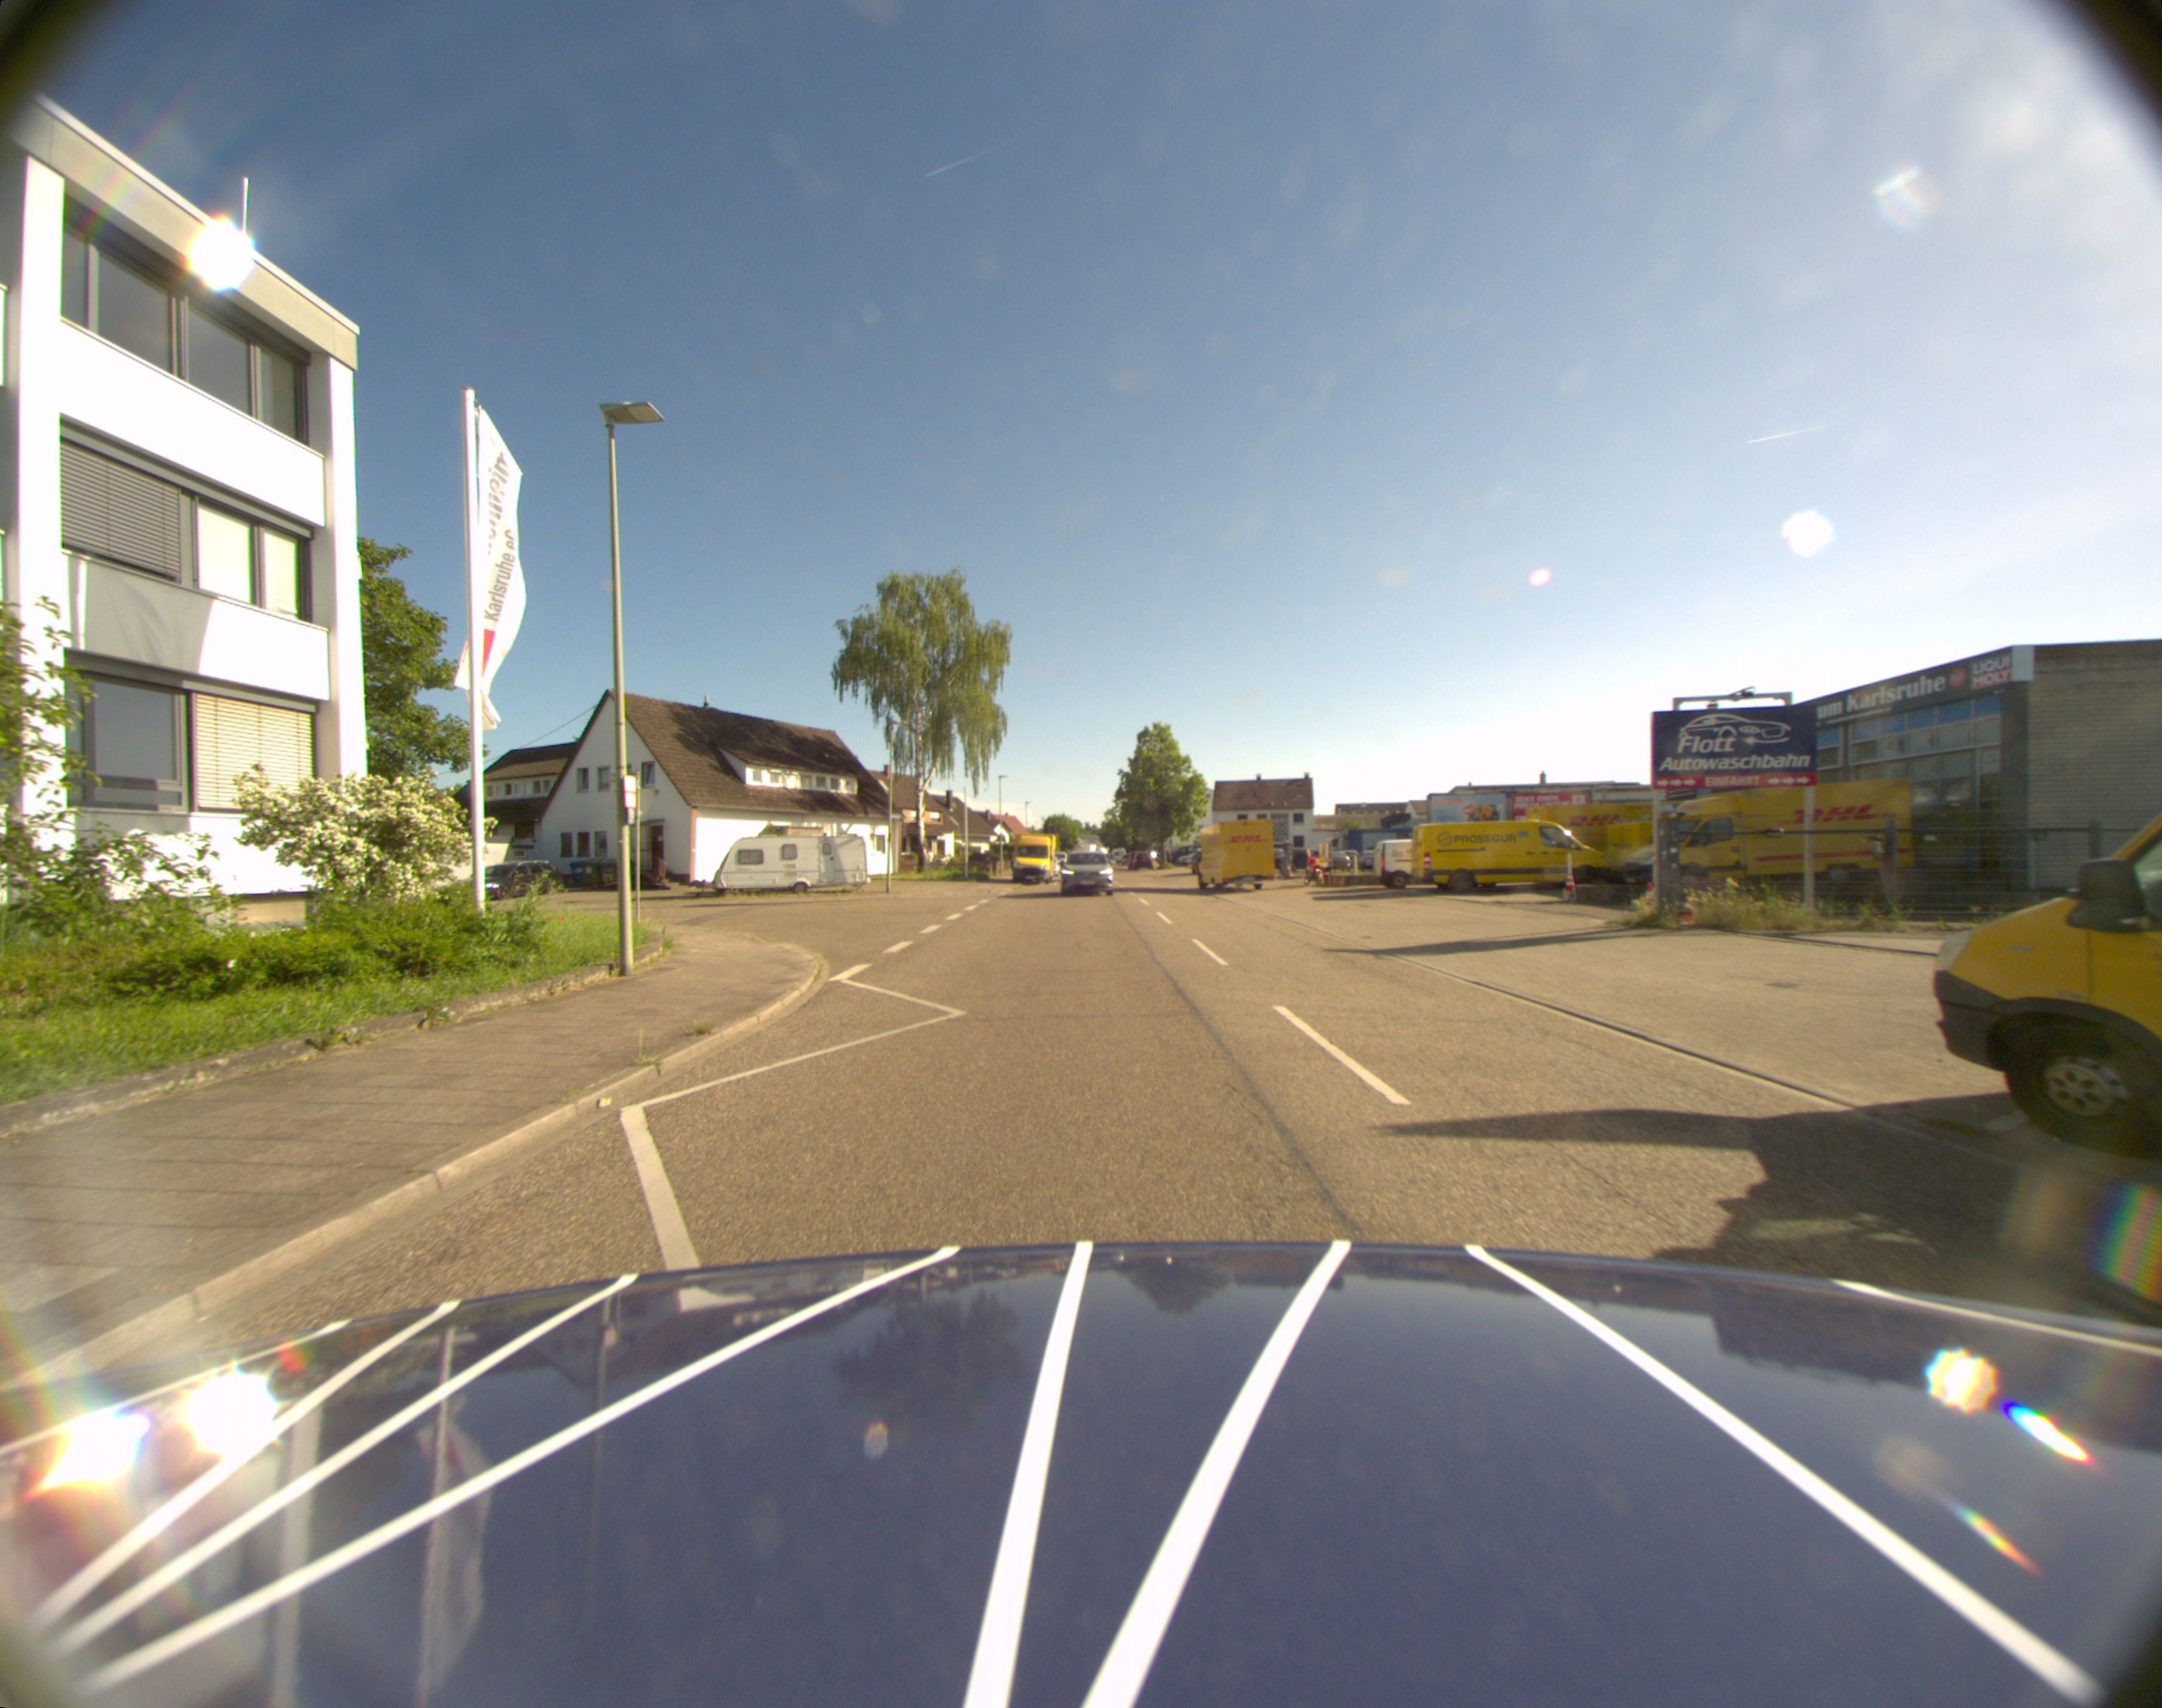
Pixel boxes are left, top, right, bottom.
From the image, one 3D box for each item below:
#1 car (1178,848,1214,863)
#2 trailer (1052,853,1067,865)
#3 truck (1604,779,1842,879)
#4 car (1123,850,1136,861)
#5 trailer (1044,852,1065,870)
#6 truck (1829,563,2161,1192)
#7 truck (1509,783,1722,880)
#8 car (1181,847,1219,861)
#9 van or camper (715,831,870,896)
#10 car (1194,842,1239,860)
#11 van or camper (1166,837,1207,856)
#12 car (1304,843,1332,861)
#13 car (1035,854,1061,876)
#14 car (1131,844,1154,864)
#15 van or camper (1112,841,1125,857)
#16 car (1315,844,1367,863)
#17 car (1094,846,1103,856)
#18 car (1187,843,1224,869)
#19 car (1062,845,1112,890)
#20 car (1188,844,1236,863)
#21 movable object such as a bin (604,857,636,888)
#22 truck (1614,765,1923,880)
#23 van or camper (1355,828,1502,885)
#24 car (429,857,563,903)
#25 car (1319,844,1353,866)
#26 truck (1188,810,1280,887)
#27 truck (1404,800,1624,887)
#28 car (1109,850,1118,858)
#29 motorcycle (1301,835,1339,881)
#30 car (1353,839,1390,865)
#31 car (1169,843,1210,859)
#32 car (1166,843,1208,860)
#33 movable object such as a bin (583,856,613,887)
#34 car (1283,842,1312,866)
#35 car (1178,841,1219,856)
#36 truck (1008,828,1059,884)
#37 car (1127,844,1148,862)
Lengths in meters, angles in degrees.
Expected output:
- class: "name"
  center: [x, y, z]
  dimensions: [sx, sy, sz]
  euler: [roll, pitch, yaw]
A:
- class: "car"
  center: [13.082, 0.157, 86.306]
  dimensions: [3.814, 1.533, 1.548]
  euler: [-1, 1, 0]
- class: "trailer"
  center: [-2.447, 0.568, 84.571]
  dimensions: [1.632, 1.210, 3.143]
  euler: [-1, 0, -3]
- class: "truck"
  center: [20.090, -0.722, 24.079]
  dimensions: [5.342, 2.955, 2.175]
  euler: [0, 1, 13]
- class: "car"
  center: [6.750, 0.173, 106.003]
  dimensions: [1.691, 1.427, 4.209]
  euler: [-3, 0, 2]
- class: "trailer"
  center: [-2.328, 0.589, 67.836]
  dimensions: [1.631, 1.529, 3.198]
  euler: [-1, 0, 1]
- class: "truck"
  center: [6.281, 0.098, 1.966]
  dimensions: [2.409, 2.966, 6.373]
  euler: [-2, 1, 1]
- class: "truck"
  center: [18.978, -0.752, 27.326]
  dimensions: [5.678, 3.101, 2.525]
  euler: [-2, 1, 11]
- class: "car"
  center: [13.754, 0.022, 88.320]
  dimensions: [4.257, 1.533, 1.766]
  euler: [-1, 1, 6]
- class: "van or camper"
  center: [-12.056, 0.347, 31.820]
  dimensions: [5.840, 2.527, 2.285]
  euler: [-1, 1, -25]
- class: "car"
  center: [13.714, -0.292, 77.130]
  dimensions: [4.259, 1.719, 1.765]
  euler: [0, 1, 1]
- class: "van or camper"
  center: [13.156, -0.941, 94.753]
  dimensions: [4.900, 2.307, 2.245]
  euler: [-1, 1, 11]
- class: "car"
  center: [21.031, -0.180, 67.661]
  dimensions: [1.667, 1.555, 3.850]
  euler: [-1, 1, 6]
- class: "car"
  center: [-2.457, 0.792, 56.033]
  dimensions: [1.789, 1.533, 4.535]
  euler: [-1, 0, -3]
- class: "car"
  center: [5.853, -0.040, 72.845]
  dimensions: [1.678, 1.761, 4.554]
  euler: [-3, 0, 0]
- class: "van or camper"
  center: [6.353, -0.806, 128.160]
  dimensions: [2.128, 2.475, 5.557]
  euler: [-1, -1, 2]
- class: "car"
  center: [21.671, -0.035, 63.419]
  dimensions: [3.993, 1.442, 1.670]
  euler: [-1, 2, 13]
- class: "car"
  center: [3.842, -0.662, 167.762]
  dimensions: [1.899, 2.020, 4.817]
  euler: [1, 1, 1]
- class: "car"
  center: [9.070, 0.123, 55.541]
  dimensions: [1.866, 1.704, 4.275]
  euler: [-4, 1, 0]
- class: "car"
  center: [0.193, 0.492, 29.090]
  dimensions: [1.777, 1.624, 3.703]
  euler: [0, 0, -1]
- class: "car"
  center: [12.381, -0.040, 72.009]
  dimensions: [4.259, 1.719, 1.766]
  euler: [0, 1, 2]
- class: "movable object such as a bin"
  center: [-21.715, 0.845, 35.790]
  dimensions: [0.834, 1.428, 0.993]
  euler: [0, 1, 24]
- class: "truck"
  center: [18.868, -0.800, 21.256]
  dimensions: [6.100, 2.955, 2.175]
  euler: [0, 1, 13]
- class: "van or camper"
  center: [12.927, 0.086, 28.542]
  dimensions: [4.552, 2.002, 2.252]
  euler: [0, 1, 7]
- class: "car"
  center: [-23.649, 0.993, 30.971]
  dimensions: [1.719, 1.430, 4.629]
  euler: [-1, 3, 2]
- class: "car"
  center: [18.179, 0.109, 54.287]
  dimensions: [1.779, 1.536, 4.168]
  euler: [-1, -1, 11]
- class: "truck"
  center: [6.606, -0.247, 33.791]
  dimensions: [2.409, 2.966, 7.243]
  euler: [-2, 1, -1]
- class: "truck"
  center: [14.244, -0.309, 25.408]
  dimensions: [5.931, 2.553, 2.225]
  euler: [-2, 1, 12]
- class: "car"
  center: [6.375, -0.023, 147.856]
  dimensions: [1.697, 1.557, 3.907]
  euler: [-4, 0, 3]
- class: "motorcycle"
  center: [10.519, 0.174, 33.565]
  dimensions: [0.783, 1.862, 3.041]
  euler: [-4, 0, 4]
- class: "car"
  center: [20.659, -0.089, 54.183]
  dimensions: [1.779, 1.738, 4.168]
  euler: [-1, -1, 11]
- class: "car"
  center: [11.618, -0.335, 81.793]
  dimensions: [4.258, 1.742, 1.766]
  euler: [0, 1, 4]
- class: "car"
  center: [11.120, -0.260, 79.813]
  dimensions: [4.257, 1.719, 1.766]
  euler: [0, 1, 6]
- class: "movable object such as a bin"
  center: [-22.985, 0.832, 36.159]
  dimensions: [1.191, 1.428, 0.601]
  euler: [0, 1, 24]
- class: "car"
  center: [16.013, 0.015, 56.382]
  dimensions: [1.779, 1.738, 4.168]
  euler: [-1, -1, 11]
- class: "car"
  center: [13.179, -0.570, 85.173]
  dimensions: [4.260, 1.576, 1.765]
  euler: [-1, 0, -1]
- class: "truck"
  center: [-2.607, 0.042, 43.863]
  dimensions: [2.409, 2.920, 7.015]
  euler: [2, 1, 0]
- class: "car"
  center: [5.880, -0.074, 79.027]
  dimensions: [1.808, 1.742, 4.341]
  euler: [-2, 1, 1]
